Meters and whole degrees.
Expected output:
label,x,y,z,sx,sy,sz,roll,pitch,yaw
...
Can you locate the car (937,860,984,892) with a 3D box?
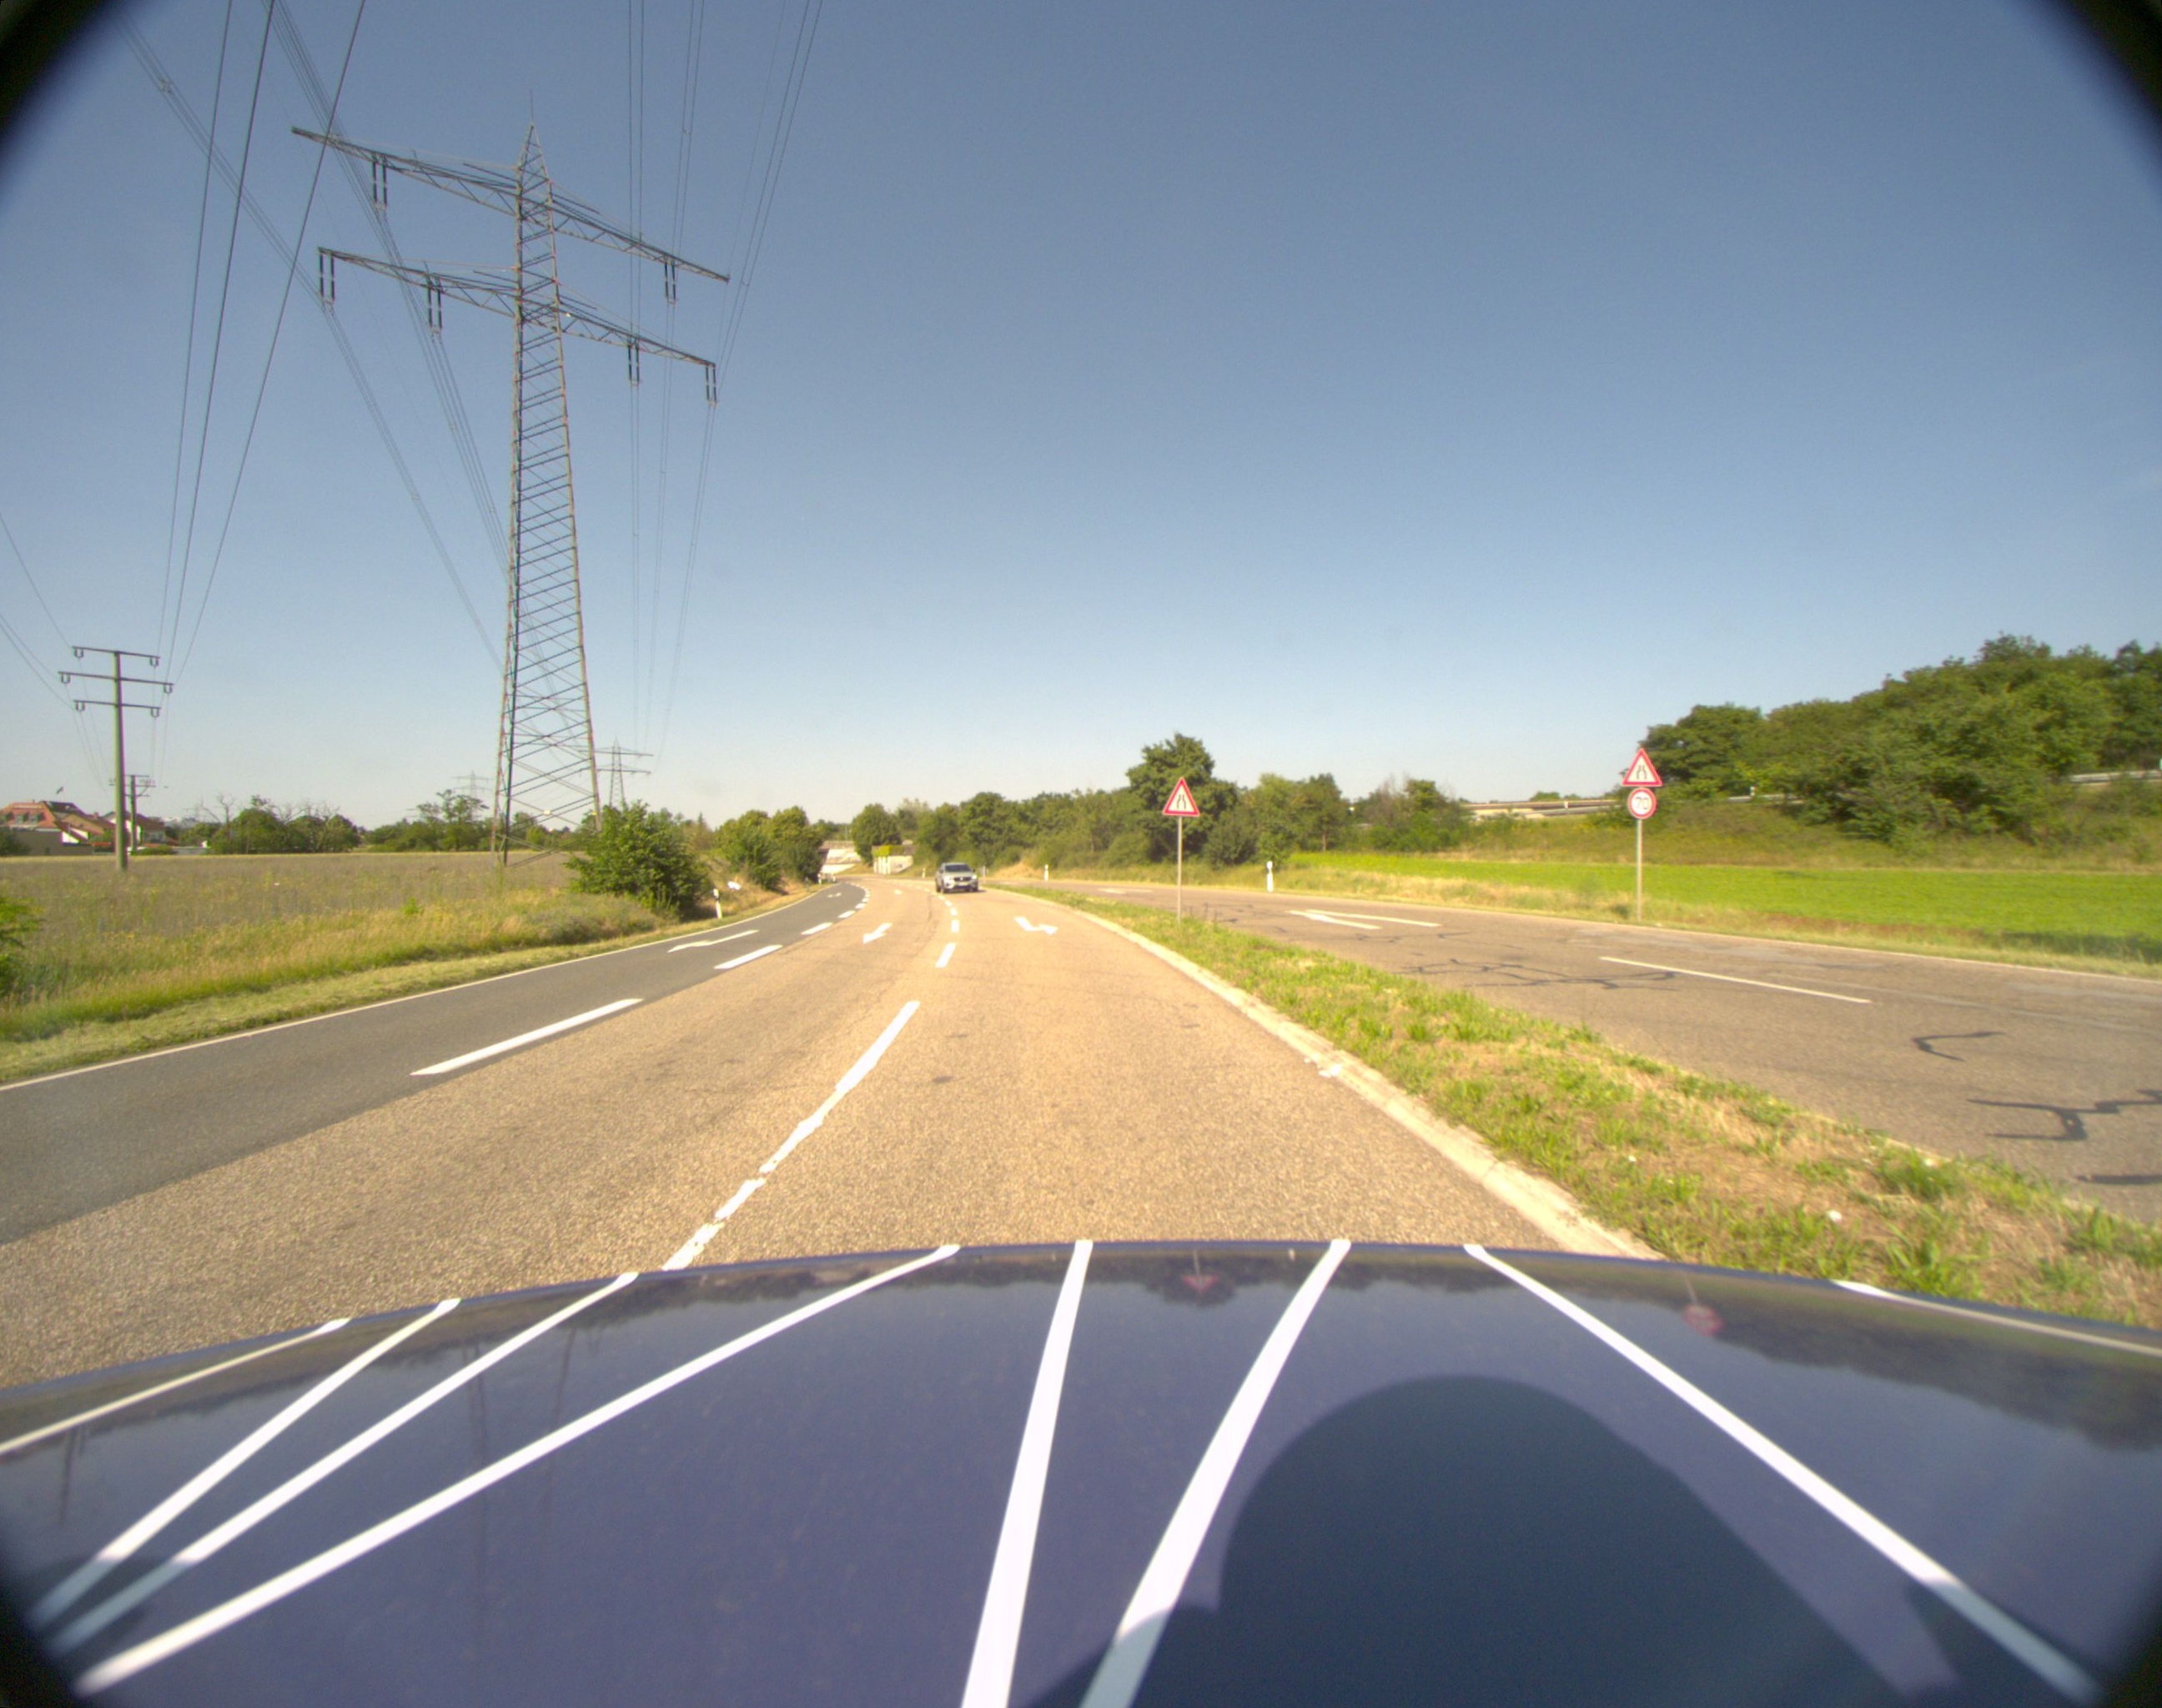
label,x,y,z,sx,sy,sz,roll,pitch,yaw
car,-6.618,1.190,41.390,1.862,1.609,3.642,-2,0,-19
